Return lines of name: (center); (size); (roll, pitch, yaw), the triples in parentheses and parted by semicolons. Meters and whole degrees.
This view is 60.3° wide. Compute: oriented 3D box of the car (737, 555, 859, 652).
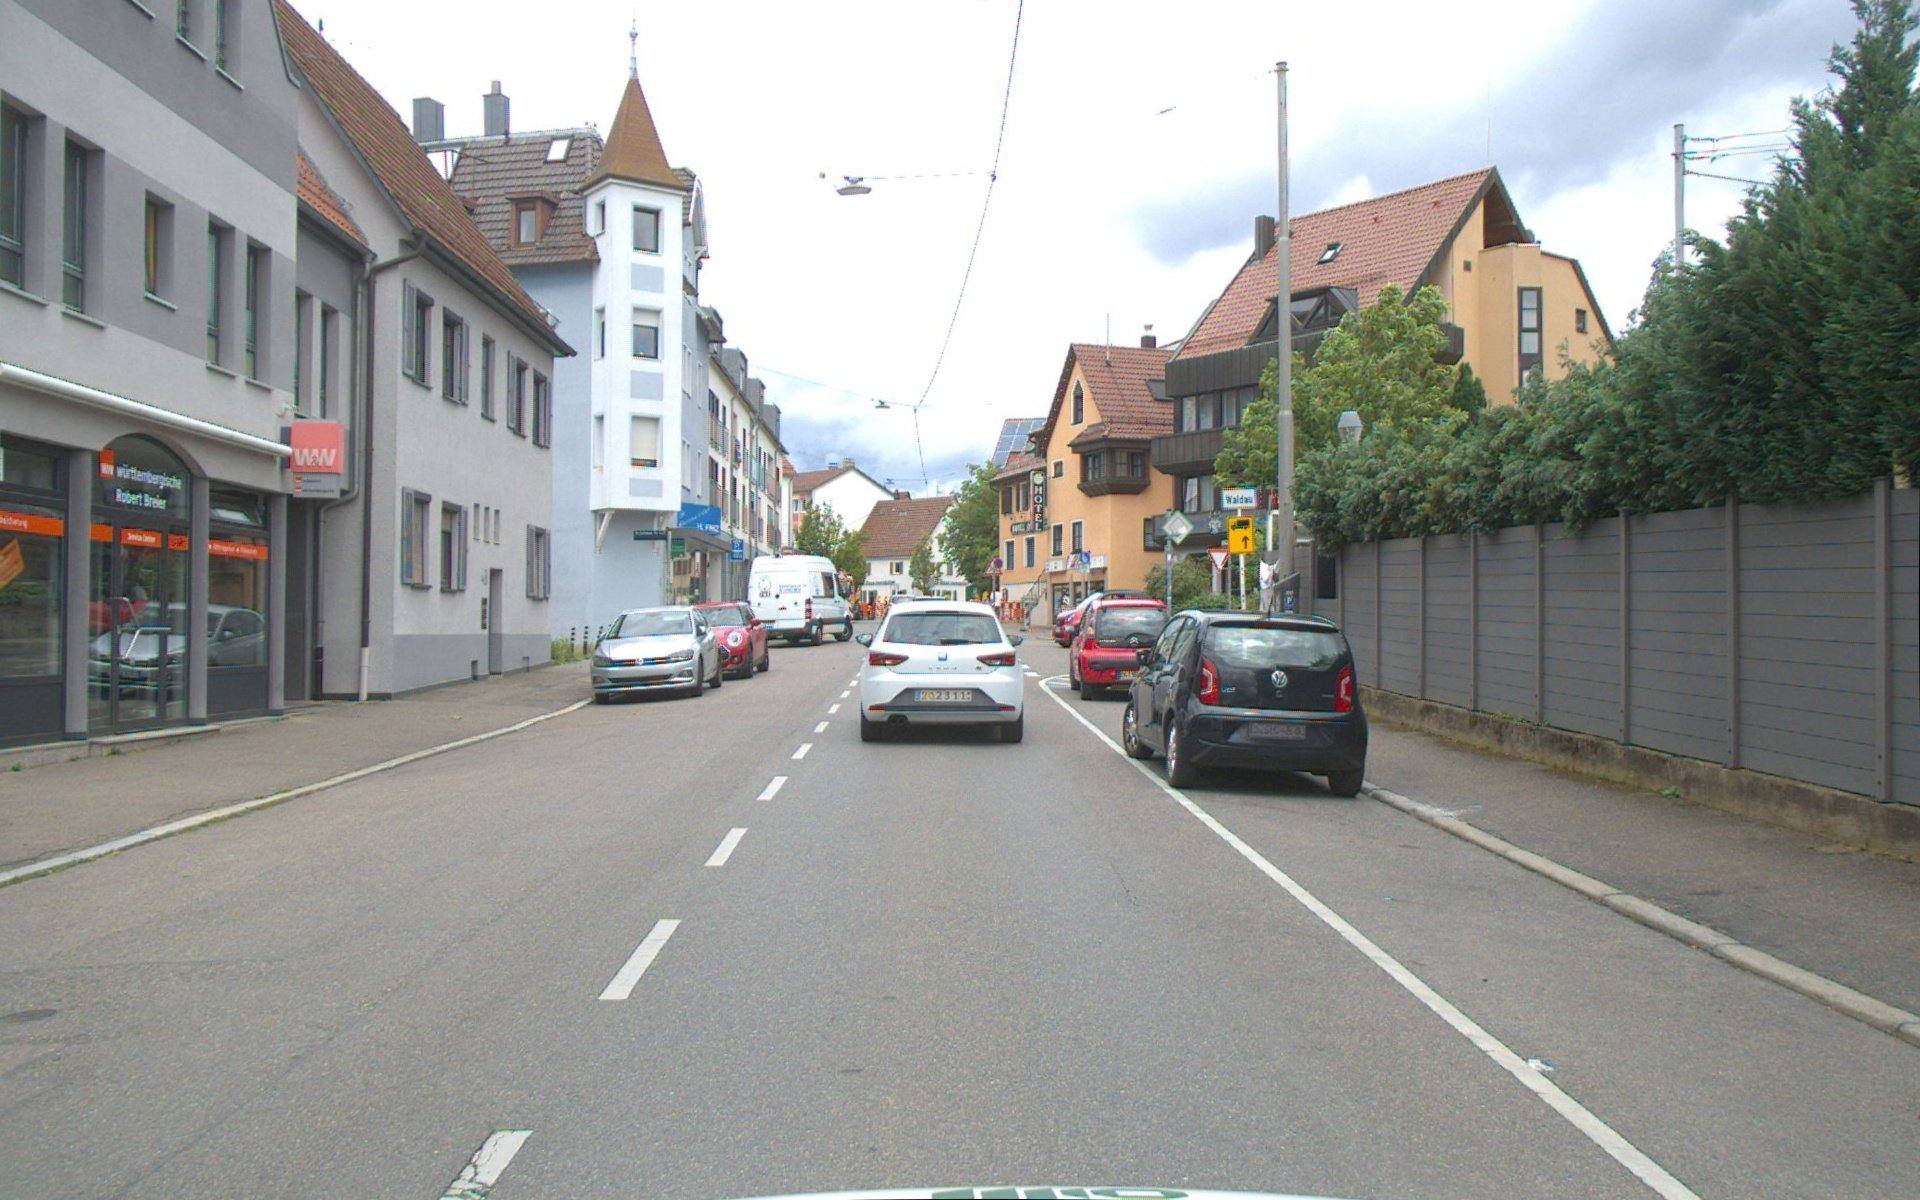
car: (-4.836, 0.083, 50.277); (2.106, 2.734, 5.549); (1, 0, 11)

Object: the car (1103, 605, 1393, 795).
car: (2.458, 0.795, 15.099); (1.724, 1.477, 3.997); (0, 0, -4)

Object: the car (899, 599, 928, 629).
car: (-2.981, 0.865, 106.879); (1.757, 1.862, 4.000); (0, 0, 0)

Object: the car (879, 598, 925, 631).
car: (-2.680, 0.664, 75.897); (1.725, 1.477, 3.993); (0, 0, -8)

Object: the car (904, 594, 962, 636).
car: (-1.009, 0.523, 59.716); (1.724, 1.477, 3.995); (0, 0, -6)

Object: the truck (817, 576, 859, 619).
truck: (-7.249, -0.170, 98.505); (2.108, 2.502, 5.394); (1, 0, 0)

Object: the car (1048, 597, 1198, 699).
car: (2.484, 0.703, 26.076); (1.724, 1.477, 3.997); (0, 0, -4)

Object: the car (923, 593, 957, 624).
car: (-1.021, 0.426, 86.026); (1.726, 1.524, 3.788); (0, 0, -1)

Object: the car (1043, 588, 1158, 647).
car: (3.870, 0.474, 45.767); (2.759, 1.538, 1.703); (1, 1, -12)

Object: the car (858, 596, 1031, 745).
car: (-0.177, 0.706, 18.496); (1.722, 1.477, 3.999); (0, 0, -1)

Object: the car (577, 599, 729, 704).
car: (-4.957, 0.778, 27.241); (1.763, 1.505, 4.049); (-3, 0, -1)

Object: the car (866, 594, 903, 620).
car: (-5.240, 0.486, 114.817); (1.756, 1.731, 4.003); (0, 0, 9)

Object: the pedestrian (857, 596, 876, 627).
pedestrian: (-6.153, 0.762, 108.858); (1.203, 2.049, 1.175); (0, 0, -1)

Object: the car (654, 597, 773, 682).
car: (-4.826, 0.732, 32.853); (1.763, 1.505, 4.049); (-3, 0, -1)

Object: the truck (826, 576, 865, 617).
truck: (-7.201, -0.255, 104.418); (2.108, 2.502, 5.394); (1, 0, 0)
